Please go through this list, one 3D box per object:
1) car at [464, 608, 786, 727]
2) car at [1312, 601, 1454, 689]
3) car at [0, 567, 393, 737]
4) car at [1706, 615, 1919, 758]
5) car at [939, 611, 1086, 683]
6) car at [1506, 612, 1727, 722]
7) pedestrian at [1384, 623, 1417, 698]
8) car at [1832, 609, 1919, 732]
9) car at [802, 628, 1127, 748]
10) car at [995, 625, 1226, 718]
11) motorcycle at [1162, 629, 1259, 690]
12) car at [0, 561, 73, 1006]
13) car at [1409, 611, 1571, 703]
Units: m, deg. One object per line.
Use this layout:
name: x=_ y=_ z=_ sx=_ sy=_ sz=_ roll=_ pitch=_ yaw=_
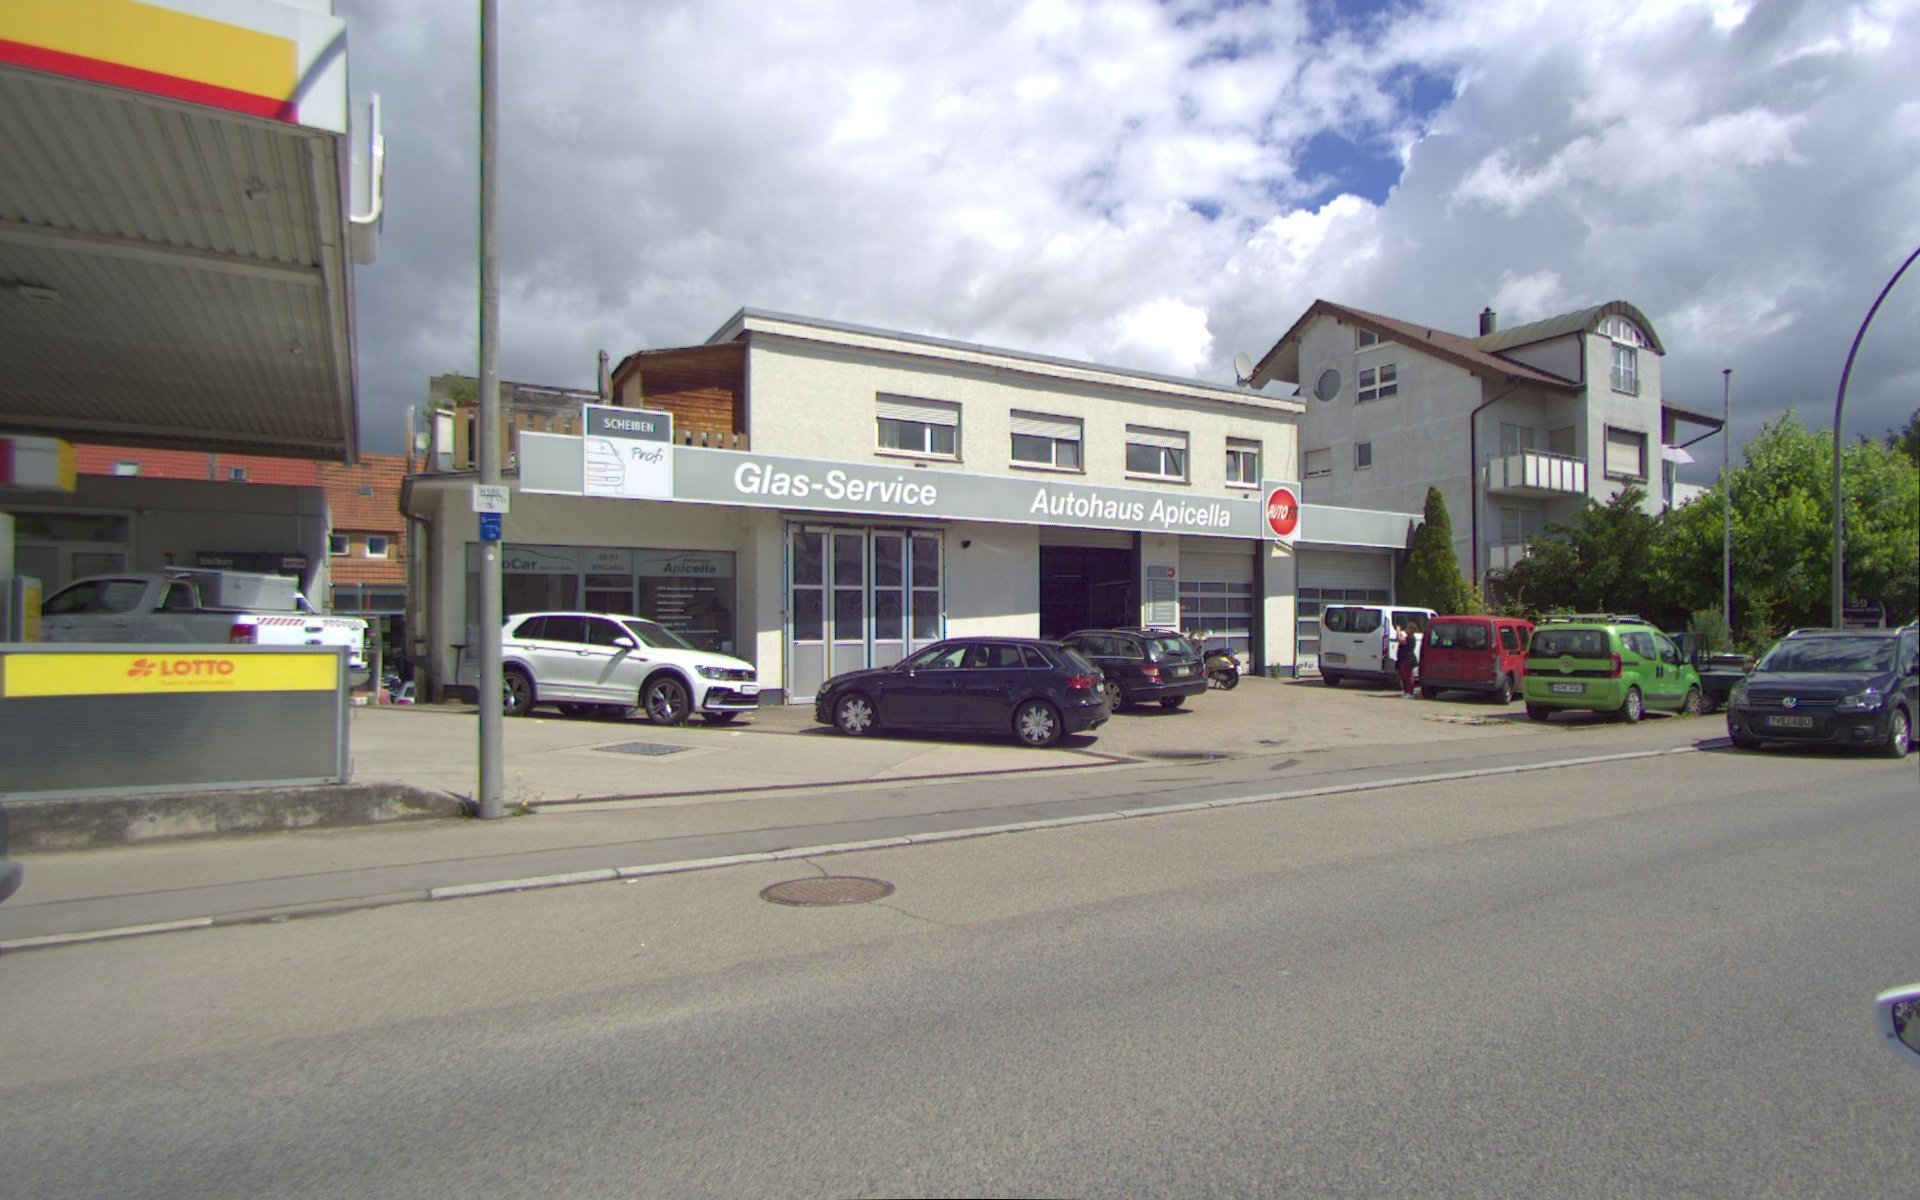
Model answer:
car: x=-5.178 y=1.049 z=15.749 sx=4.323 sy=1.632 sz=1.978 roll=1 pitch=-5 yaw=15
car: x=10.781 y=1.132 z=25.444 sx=1.857 sy=2.006 sz=4.312 roll=1 pitch=-2 yaw=44
car: x=-9.957 y=0.586 z=12.782 sx=4.884 sy=1.877 sz=1.976 roll=0 pitch=-1 yaw=18
car: x=12.356 y=1.119 z=13.904 sx=4.475 sy=1.702 sz=1.655 roll=1 pitch=-3 yaw=-31
car: x=1.298 y=1.166 z=26.465 sx=1.851 sy=1.639 sz=3.961 roll=1 pitch=0 yaw=-34
car: x=12.061 y=1.154 z=18.395 sx=4.290 sy=1.809 sz=1.782 roll=1 pitch=-1 yaw=-32
pedestrian: x=9.477 y=1.298 z=21.632 sx=0.487 sy=1.579 sz=0.410 roll=1 pitch=1 yaw=-31
car: x=16.815 y=1.125 z=16.666 sx=5.368 sy=1.844 sz=1.902 roll=1 pitch=-5 yaw=-31
car: x=0.100 y=1.159 z=14.169 sx=4.251 sy=1.509 sz=1.799 roll=0 pitch=-1 yaw=17
car: x=2.757 y=1.264 z=19.323 sx=1.956 sy=1.512 sz=4.369 roll=0 pitch=-1 yaw=-35
motorcycle: x=5.727 y=1.348 z=23.114 sx=0.838 sy=1.246 sz=2.184 roll=1 pitch=0 yaw=-33
car: x=-5.628 y=0.706 z=3.005 sx=4.142 sy=1.760 sz=1.721 roll=1 pitch=-5 yaw=-31
car: x=11.923 y=1.237 z=22.472 sx=4.306 sy=1.809 sz=1.776 roll=3 pitch=0 yaw=-42
